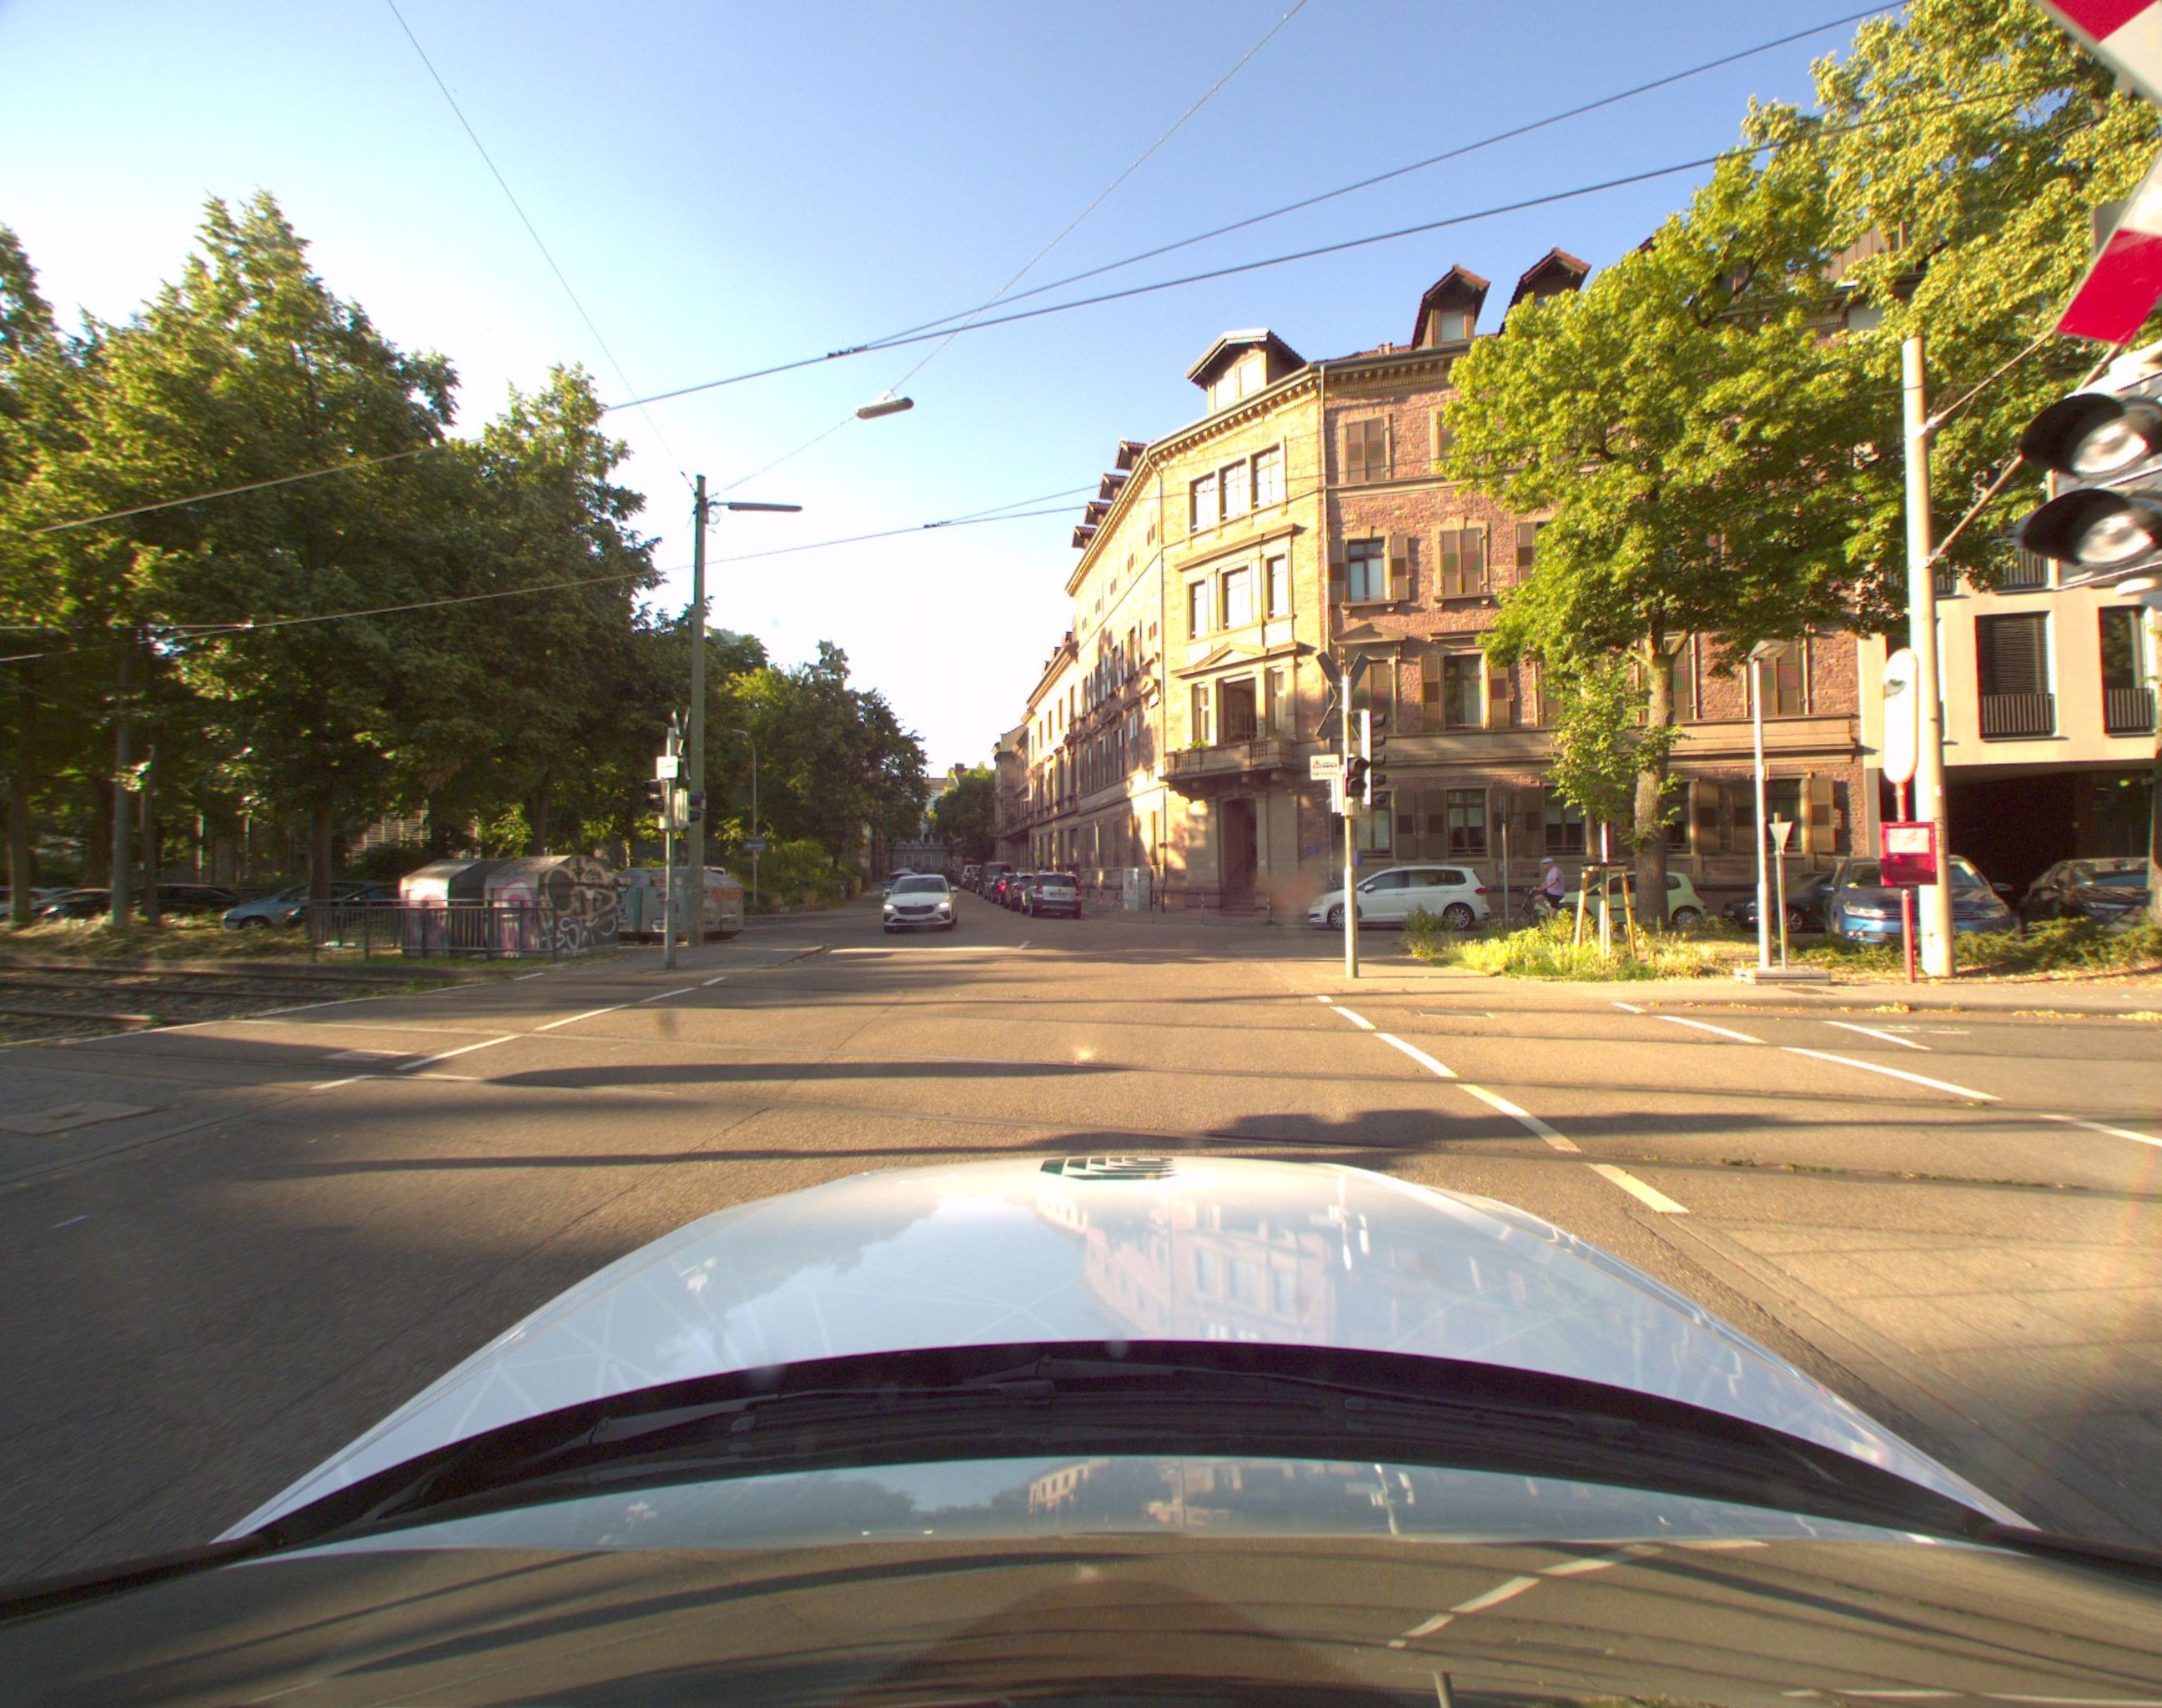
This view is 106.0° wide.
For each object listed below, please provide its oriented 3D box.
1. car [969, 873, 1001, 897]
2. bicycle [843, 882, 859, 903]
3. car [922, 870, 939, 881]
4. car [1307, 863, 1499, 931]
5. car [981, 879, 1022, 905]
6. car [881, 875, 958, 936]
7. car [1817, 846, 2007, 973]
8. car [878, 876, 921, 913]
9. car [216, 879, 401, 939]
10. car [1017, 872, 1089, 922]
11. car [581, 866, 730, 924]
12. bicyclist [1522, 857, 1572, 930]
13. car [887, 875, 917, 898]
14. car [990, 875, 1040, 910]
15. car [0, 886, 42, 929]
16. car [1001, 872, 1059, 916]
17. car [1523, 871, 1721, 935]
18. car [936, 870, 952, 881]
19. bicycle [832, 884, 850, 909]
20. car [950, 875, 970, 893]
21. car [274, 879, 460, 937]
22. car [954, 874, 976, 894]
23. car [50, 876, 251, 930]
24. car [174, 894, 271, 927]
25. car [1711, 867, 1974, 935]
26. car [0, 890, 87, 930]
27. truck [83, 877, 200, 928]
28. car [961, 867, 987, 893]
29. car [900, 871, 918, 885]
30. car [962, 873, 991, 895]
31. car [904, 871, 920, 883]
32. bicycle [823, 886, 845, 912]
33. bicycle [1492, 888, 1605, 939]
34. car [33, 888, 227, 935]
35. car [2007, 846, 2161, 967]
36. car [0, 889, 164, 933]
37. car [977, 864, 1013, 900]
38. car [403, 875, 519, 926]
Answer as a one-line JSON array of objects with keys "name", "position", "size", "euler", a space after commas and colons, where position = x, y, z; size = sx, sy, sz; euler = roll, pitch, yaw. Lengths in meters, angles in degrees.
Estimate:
[{"name": "car", "position": [-6.665, 2.125, 56.371], "size": [1.799, 1.524, 3.938], "euler": [2, -2, -12]}, {"name": "bicycle", "position": [-12.661, 2.087, 44.882], "size": [0.597, 1.101, 2.618], "euler": [0, -2, -10]}, {"name": "car", "position": [-23.516, 3.371, 127.165], "size": [1.998, 1.684, 3.975], "euler": [1, -4, -17]}, {"name": "car", "position": [8.280, 1.144, 21.361], "size": [4.451, 1.650, 1.881], "euler": [-1, -4, 14]}, {"name": "car", "position": [-4.471, 2.085, 45.476], "size": [1.799, 1.345, 3.938], "euler": [2, -2, -12]}, {"name": "car", "position": [-4.298, 1.335, 22.174], "size": [1.700, 1.457, 4.052], "euler": [-1, -1, -7]}, {"name": "car", "position": [13.163, 0.831, 13.163], "size": [1.720, 1.688, 4.446], "euler": [-2, -3, 40]}, {"name": "car", "position": [-8.527, 1.867, 38.512], "size": [1.827, 1.615, 4.274], "euler": [3, -2, -11]}, {"name": "car", "position": [-21.823, 1.551, 23.148], "size": [3.639, 1.563, 1.587], "euler": [4, -5, -44]}, {"name": "car", "position": [-1.120, 1.549, 30.186], "size": [1.917, 1.657, 4.168], "euler": [3, -3, -12]}, {"name": "car", "position": [-15.363, 1.471, 29.473], "size": [4.611, 2.003, 1.957], "euler": [-1, -2, 13]}, {"name": "bicyclist", "position": [10.340, 0.862, 18.096], "size": [0.864, 1.588, 0.704], "euler": [0, -2, 21]}, {"name": "car", "position": [-12.430, 2.260, 56.728], "size": [1.827, 1.500, 3.915], "euler": [3, -2, -11]}, {"name": "car", "position": [-3.305, 1.869, 40.169], "size": [1.800, 1.614, 3.935], "euler": [3, -2, -14]}, {"name": "car", "position": [-41.510, 1.976, 29.973], "size": [1.715, 1.588, 3.852], "euler": [-4, -6, 41]}, {"name": "car", "position": [-2.255, 1.683, 35.058], "size": [1.827, 1.724, 4.525], "euler": [3, -2, -11]}, {"name": "car", "position": [13.322, 1.233, 20.274], "size": [3.687, 1.490, 1.747], "euler": [-1, -4, 12]}, {"name": "car", "position": [-21.532, 3.400, 127.907], "size": [1.998, 1.684, 3.975], "euler": [1, -4, -17]}, {"name": "bicycle", "position": [-11.337, 1.978, 38.529], "size": [0.597, 1.101, 2.616], "euler": [0, -2, -12]}, {"name": "car", "position": [-12.492, 3.079, 83.900], "size": [1.799, 1.728, 3.938], "euler": [2, -2, -12]}, {"name": "car", "position": [-19.250, 1.457, 22.056], "size": [3.639, 1.448, 1.587], "euler": [4, -5, -45]}, {"name": "car", "position": [-11.245, 2.873, 78.693], "size": [1.799, 1.839, 3.938], "euler": [2, -2, -12]}, {"name": "car", "position": [-28.132, 1.529, 24.779], "size": [1.715, 1.497, 3.852], "euler": [-4, -6, 41]}, {"name": "car", "position": [-38.567, 2.526, 36.579], "size": [3.560, 1.385, 1.583], "euler": [-1, -2, 18]}, {"name": "car", "position": [17.657, 1.107, 19.123], "size": [4.121, 1.490, 1.748], "euler": [-1, -4, 14]}, {"name": "car", "position": [-38.702, 2.012, 29.124], "size": [1.715, 1.422, 3.852], "euler": [-4, -6, 41]}, {"name": "truck", "position": [-45.801, 2.326, 39.721], "size": [4.331, 2.353, 2.386], "euler": [-1, -2, 22]}, {"name": "car", "position": [-8.913, 2.128, 67.483], "size": [1.799, 2.073, 3.938], "euler": [2, -2, -12]}, {"name": "car", "position": [-19.712, 2.793, 93.383], "size": [1.827, 1.500, 3.915], "euler": [3, -2, -11]}, {"name": "car", "position": [-7.949, 2.265, 61.861], "size": [1.799, 1.623, 3.938], "euler": [2, -2, -12]}, {"name": "car", "position": [-26.165, 3.538, 125.879], "size": [1.998, 1.684, 3.975], "euler": [1, -4, -17]}, {"name": "bicycle", "position": [-10.845, 1.961, 35.865], "size": [0.597, 1.101, 2.618], "euler": [0, -2, -10]}, {"name": "bicycle", "position": [10.331, 1.299, 18.082], "size": [2.098, 1.054, 0.704], "euler": [0, -2, 21]}, {"name": "car", "position": [-30.168, 1.839, 25.999], "size": [1.715, 1.392, 3.852], "euler": [-4, -6, 41]}, {"name": "car", "position": [16.163, 0.705, 12.614], "size": [1.905, 1.635, 4.580], "euler": [-2, -1, 43]}, {"name": "car", "position": [-33.332, 1.901, 26.973], "size": [1.715, 1.392, 3.852], "euler": [-4, -6, 41]}, {"name": "car", "position": [-5.425, 1.731, 51.013], "size": [1.799, 2.073, 3.938], "euler": [2, -2, -12]}, {"name": "car", "position": [-24.146, 1.791, 31.746], "size": [3.859, 1.904, 1.583], "euler": [-1, -2, 16]}]
